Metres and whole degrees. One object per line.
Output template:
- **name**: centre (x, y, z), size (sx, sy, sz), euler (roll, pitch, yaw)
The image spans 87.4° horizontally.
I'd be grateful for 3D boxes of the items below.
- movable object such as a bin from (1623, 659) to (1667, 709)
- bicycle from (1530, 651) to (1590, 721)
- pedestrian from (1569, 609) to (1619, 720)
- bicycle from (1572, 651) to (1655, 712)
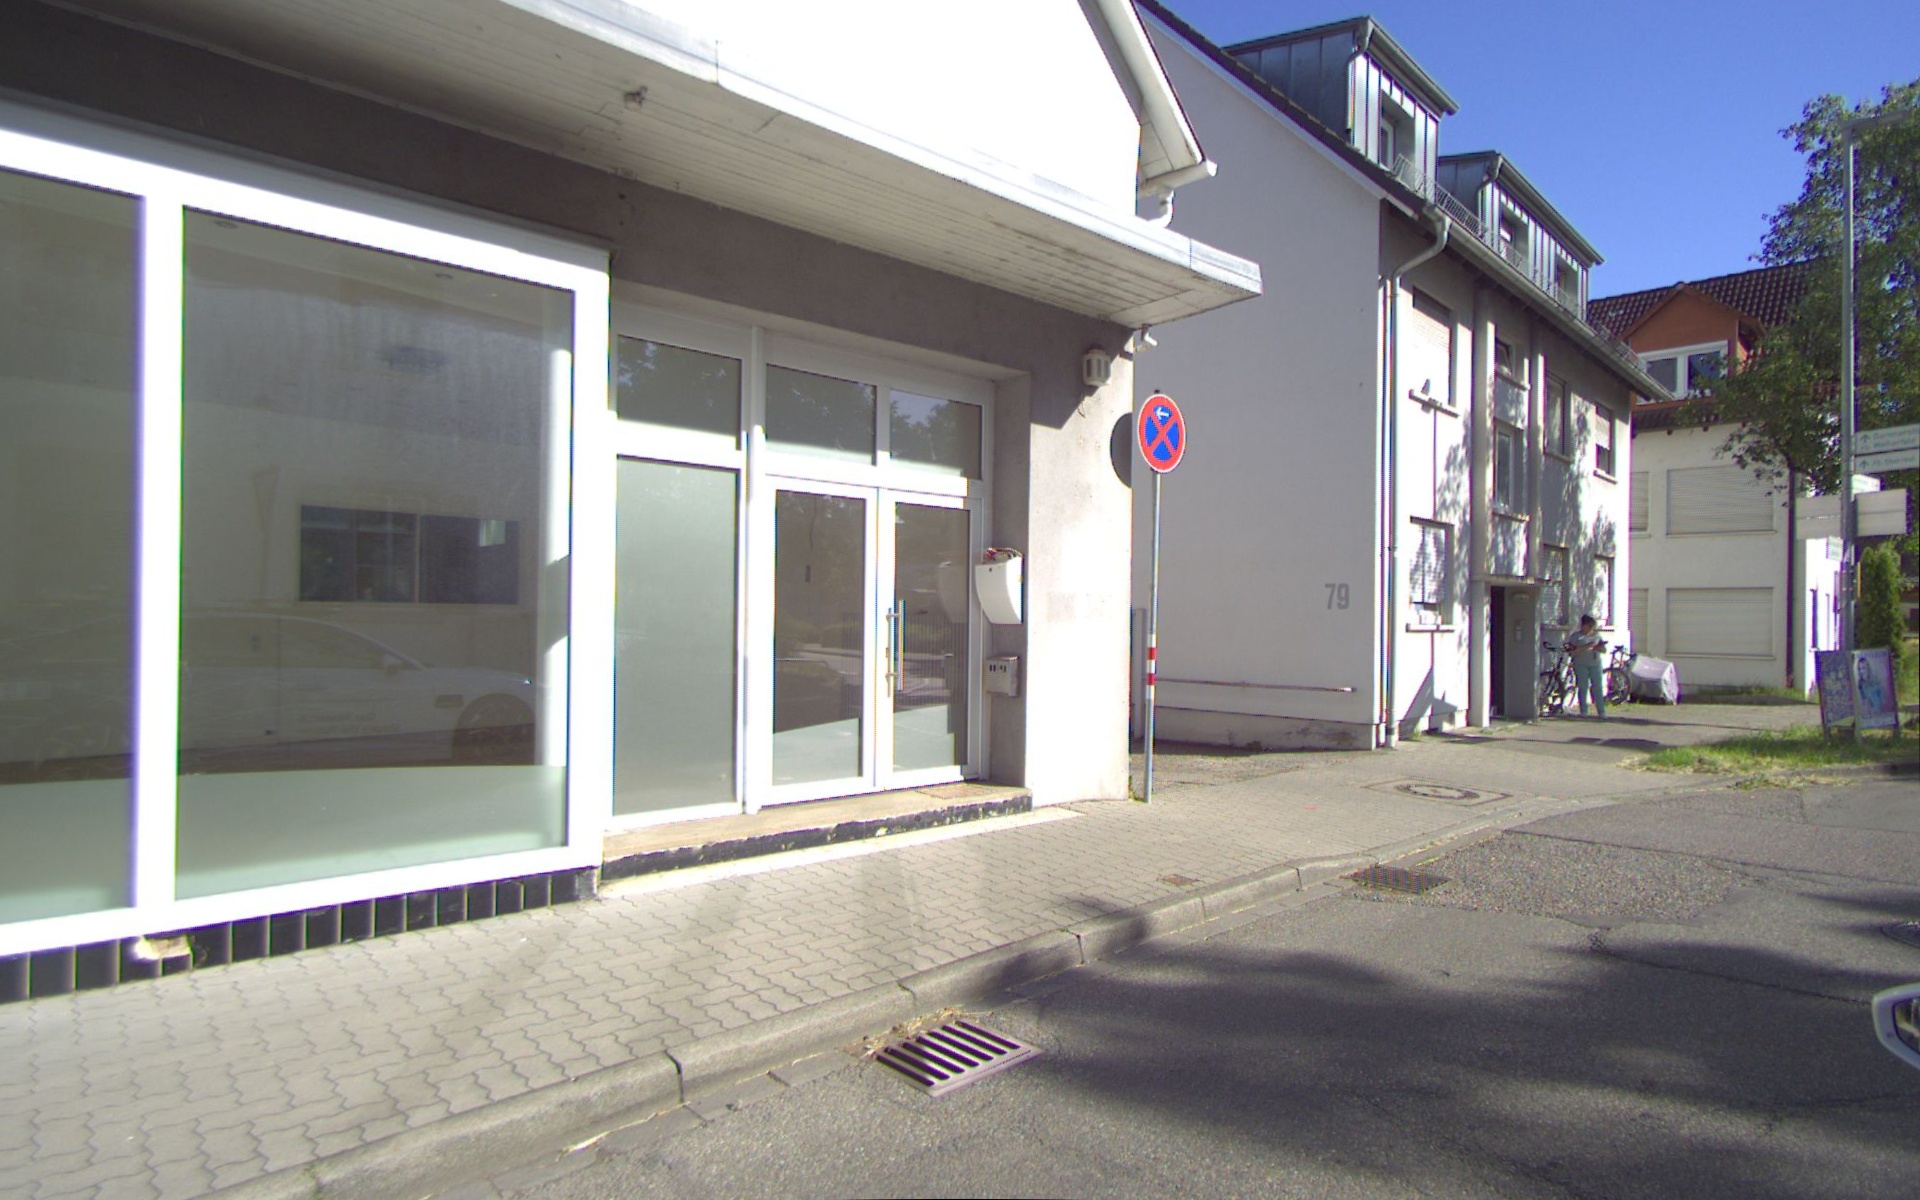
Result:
- **movable object such as a bin**: centre (13.838, 1.682, 20.288), size (0.619, 0.957, 0.657), euler (0, -2, 44)
- **bicycle**: centre (9.645, 1.372, 16.133), size (1.371, 1.066, 0.419), euler (3, -3, -41)
- **pedestrian**: centre (10.045, 1.021, 15.923), size (0.552, 1.715, 0.480), euler (4, -2, -38)
- **bicycle**: centre (12.065, 1.494, 18.514), size (2.016, 1.066, 0.574), euler (3, -2, -35)
